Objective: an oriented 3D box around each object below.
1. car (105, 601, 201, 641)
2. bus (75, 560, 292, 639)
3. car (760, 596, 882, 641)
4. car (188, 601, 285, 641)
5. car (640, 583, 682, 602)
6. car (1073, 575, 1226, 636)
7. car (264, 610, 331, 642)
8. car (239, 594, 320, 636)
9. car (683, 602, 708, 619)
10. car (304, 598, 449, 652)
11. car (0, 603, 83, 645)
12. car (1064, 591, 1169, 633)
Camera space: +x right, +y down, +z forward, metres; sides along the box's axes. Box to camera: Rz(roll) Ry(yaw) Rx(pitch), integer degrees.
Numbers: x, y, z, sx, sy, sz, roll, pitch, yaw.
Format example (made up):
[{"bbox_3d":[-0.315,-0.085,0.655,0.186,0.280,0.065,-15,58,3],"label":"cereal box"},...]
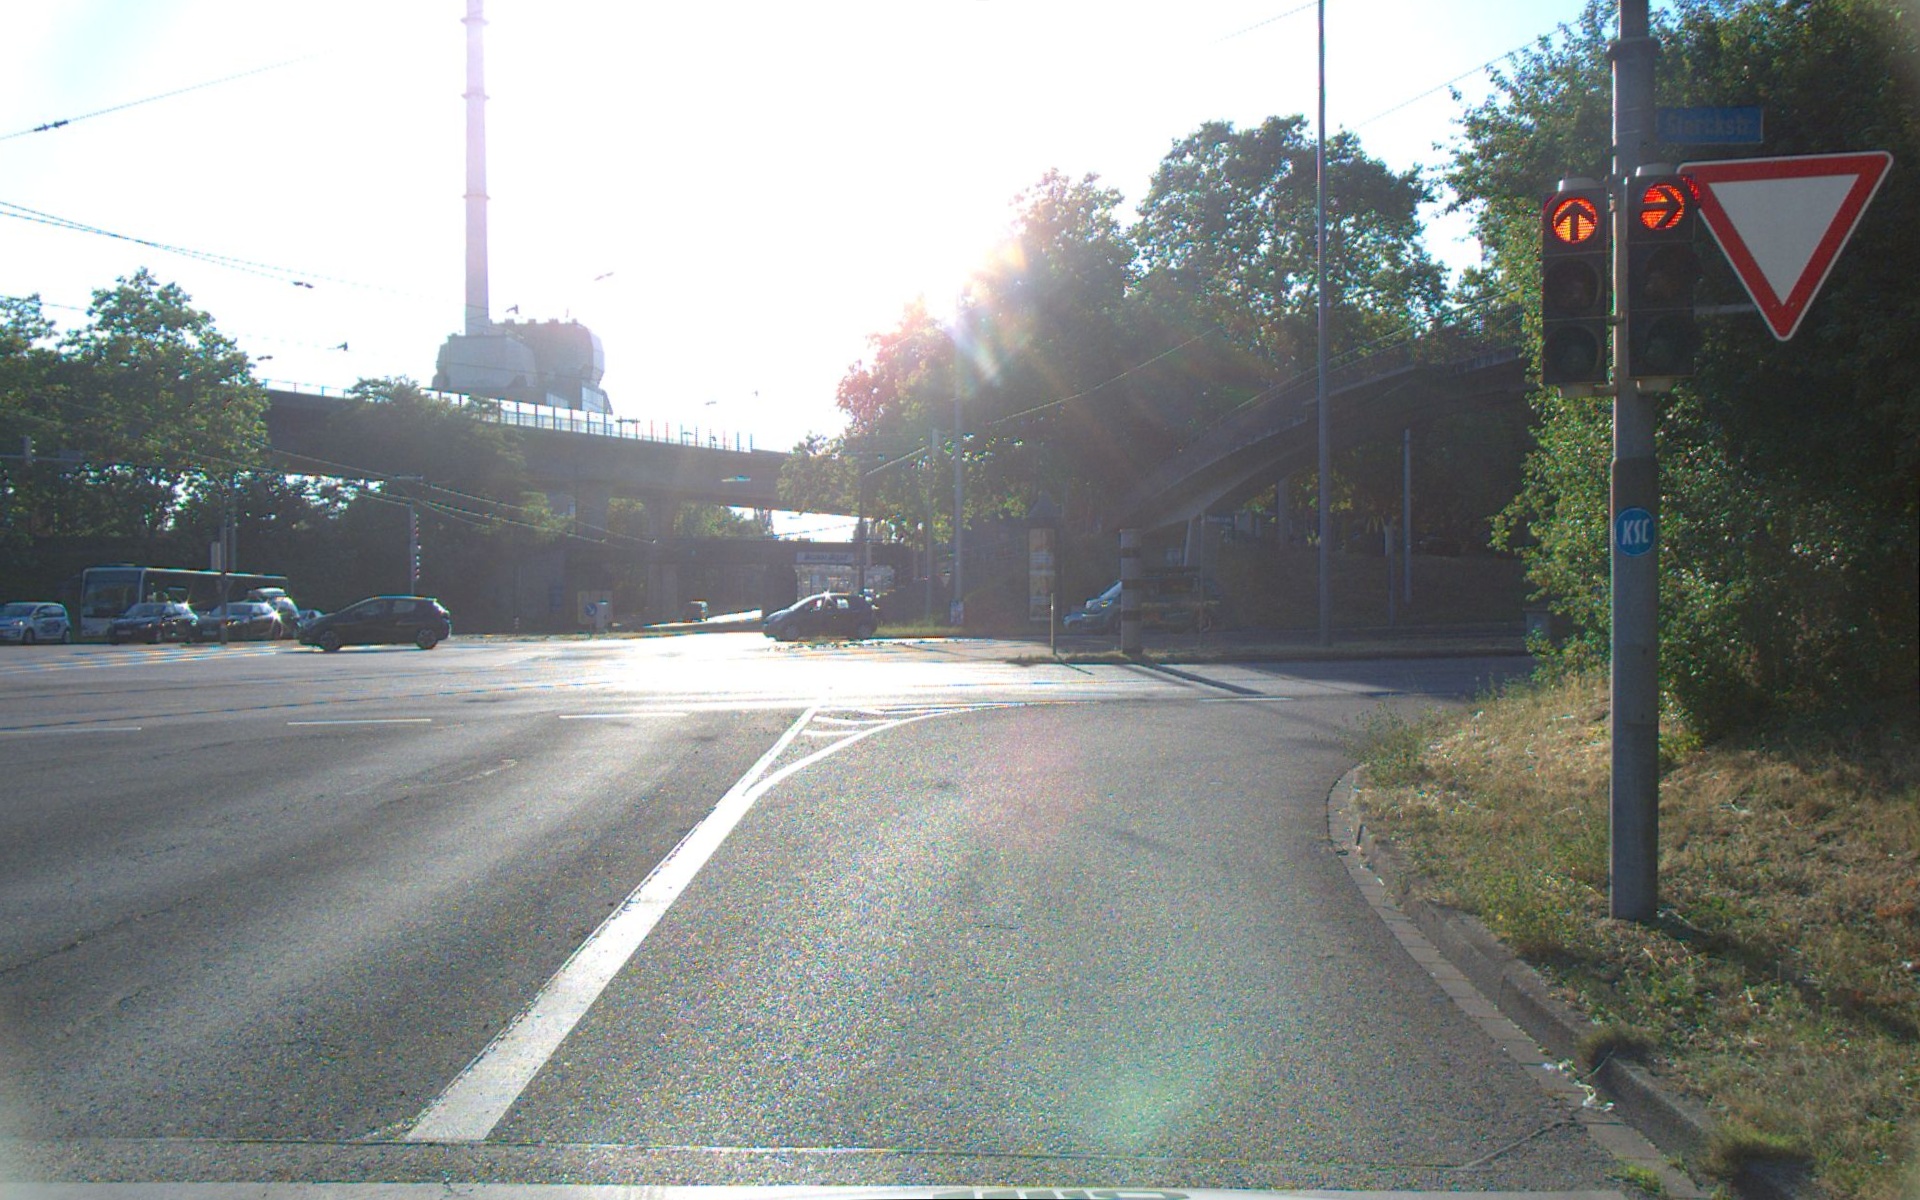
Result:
[{"bbox_3d":[-28.500,0.726,58.501,1.572,1.378,3.998,0,0,-3],"label":"car"},{"bbox_3d":[-32.116,-0.030,69.295,2.764,3.006,12.855,0,0,1],"label":"bus"},{"bbox_3d":[-4.523,0.593,53.678,3.666,1.447,1.687,0,0,-20],"label":"car"},{"bbox_3d":[-25.731,0.716,58.985,1.676,1.378,4.095,0,0,0],"label":"car"},{"bbox_3d":[-29.794,-0.739,165.040,1.957,1.802,3.991,1,0,31],"label":"car"},{"bbox_3d":[6.203,0.170,54.085,4.622,1.939,1.987,0,0,-21],"label":"car"},{"bbox_3d":[-32.003,1.253,80.012,1.665,1.467,4.000,0,0,0],"label":"car"},{"bbox_3d":[-28.243,0.598,68.785,1.676,1.681,4.095,0,0,0],"label":"car"},{"bbox_3d":[-26.276,1.056,164.612,1.675,1.681,4.096,0,0,2],"label":"car"},{"bbox_3d":[-15.968,0.675,45.366,3.666,1.447,1.687,0,0,-20],"label":"car"},{"bbox_3d":[-32.130,0.805,57.321,1.572,1.378,3.732,0,0,-3],"label":"car"},{"bbox_3d":[6.445,0.493,68.465,4.122,1.681,1.715,0,0,-4],"label":"car"}]
